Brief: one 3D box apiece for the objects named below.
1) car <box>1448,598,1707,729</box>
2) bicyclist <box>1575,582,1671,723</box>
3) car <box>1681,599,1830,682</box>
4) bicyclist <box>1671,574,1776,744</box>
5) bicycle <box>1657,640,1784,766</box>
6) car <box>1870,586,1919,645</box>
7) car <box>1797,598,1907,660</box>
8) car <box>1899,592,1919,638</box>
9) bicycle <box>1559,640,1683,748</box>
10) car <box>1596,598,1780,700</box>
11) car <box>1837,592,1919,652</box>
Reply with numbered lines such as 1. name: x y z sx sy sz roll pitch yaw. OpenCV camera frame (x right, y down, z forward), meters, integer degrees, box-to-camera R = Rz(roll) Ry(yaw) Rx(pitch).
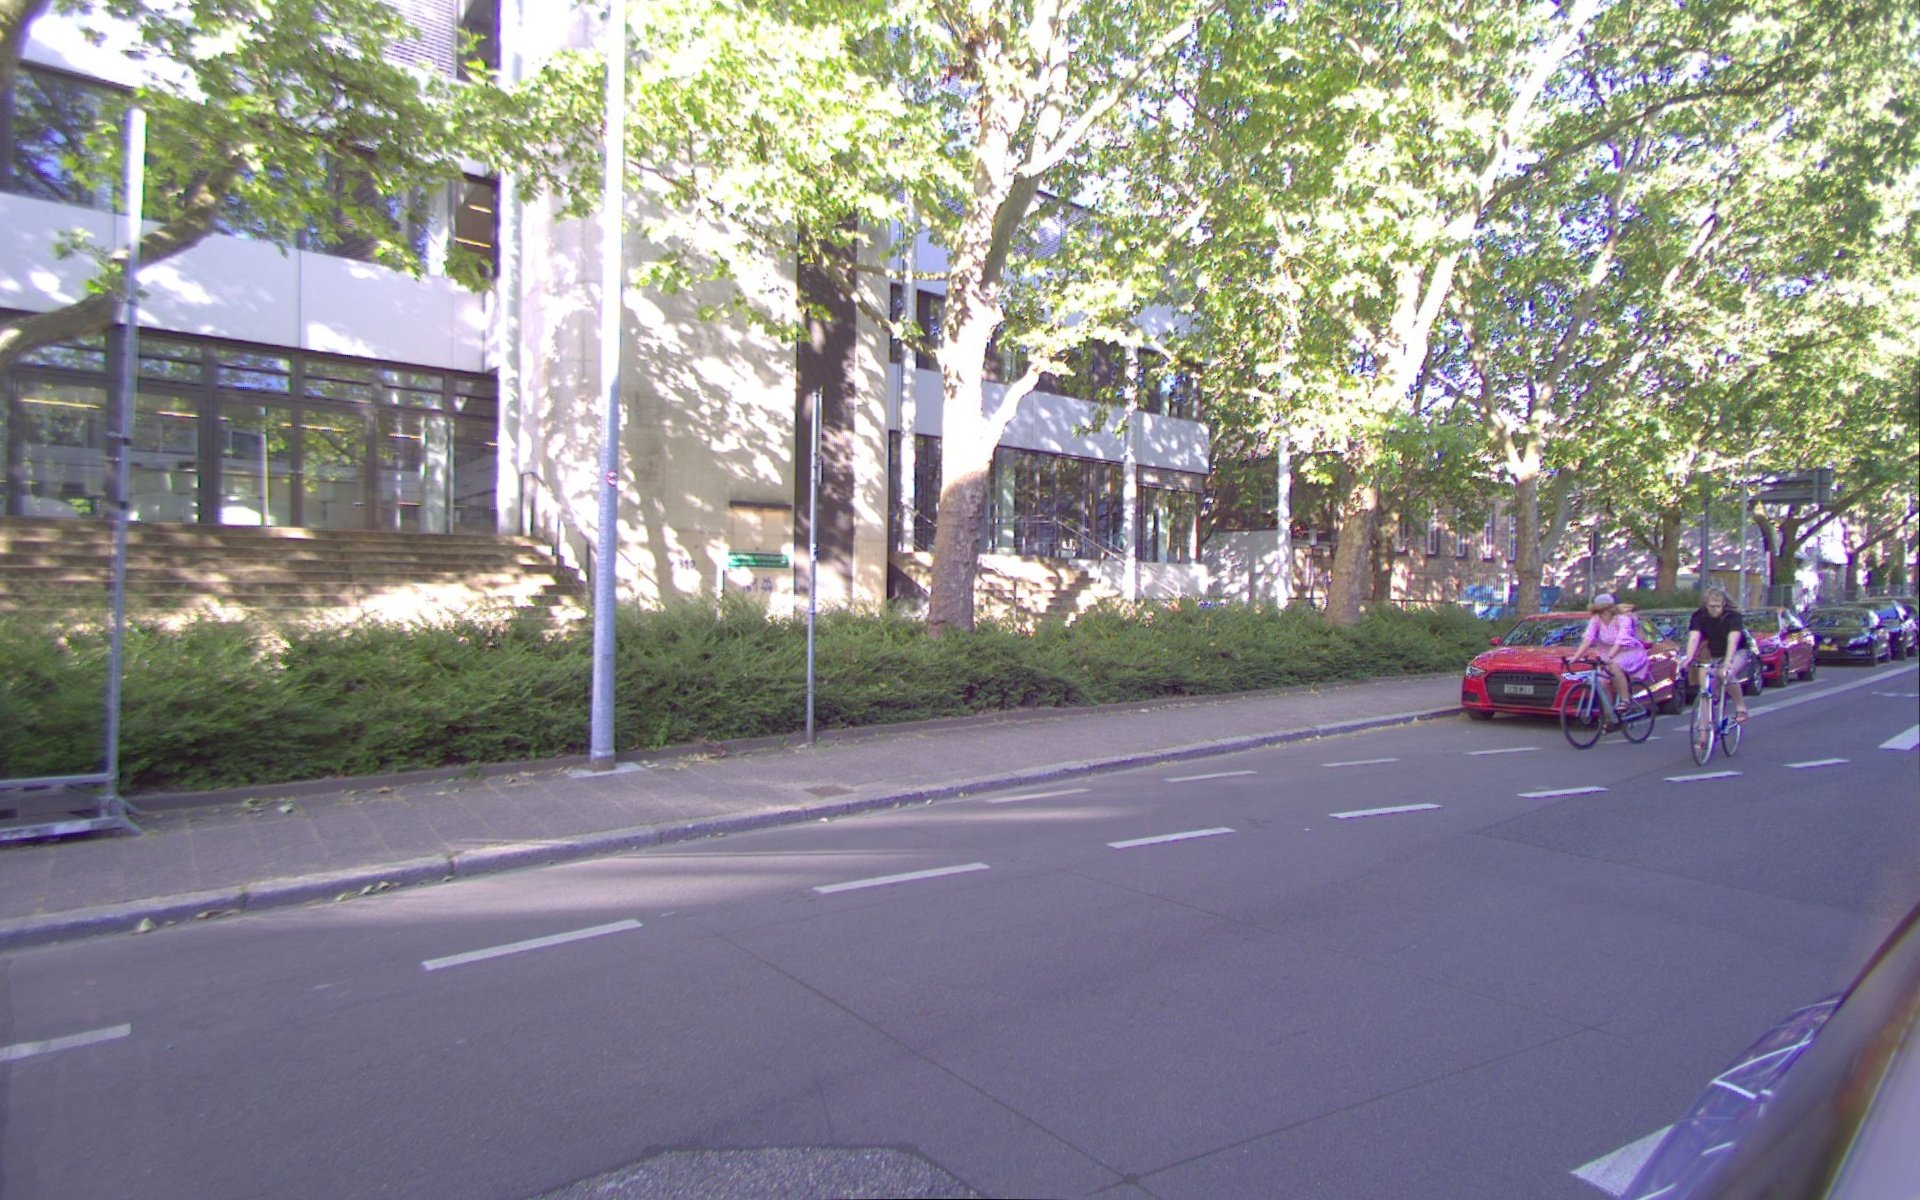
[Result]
1. car: 8.337 0.730 13.539 4.053 1.483 1.802 0 -1 -41
2. bicyclist: 7.065 0.535 10.777 0.915 1.420 0.601 0 -1 -41
3. car: 15.718 0.725 19.942 3.674 1.483 1.634 0 -1 -41
4. bicyclist: 7.296 0.533 9.668 0.874 1.535 0.611 0 -1 -41
5. bicycle: 7.256 0.929 9.633 1.701 1.039 0.611 0 -1 -41
6. car: 31.155 0.475 33.059 3.777 1.828 1.634 0 -1 -41
7. car: 22.954 0.697 26.008 3.674 1.483 1.634 0 -1 -41
8. car: 35.934 0.530 37.230 3.777 1.675 1.634 0 -1 -41
9. bicycle: 7.034 0.953 10.736 1.848 0.997 0.601 0 -1 -41
10. car: 12.006 0.719 16.625 3.674 1.483 1.634 0 -1 -41
11. car: 26.592 0.585 29.022 3.777 1.607 1.634 0 -1 -41
